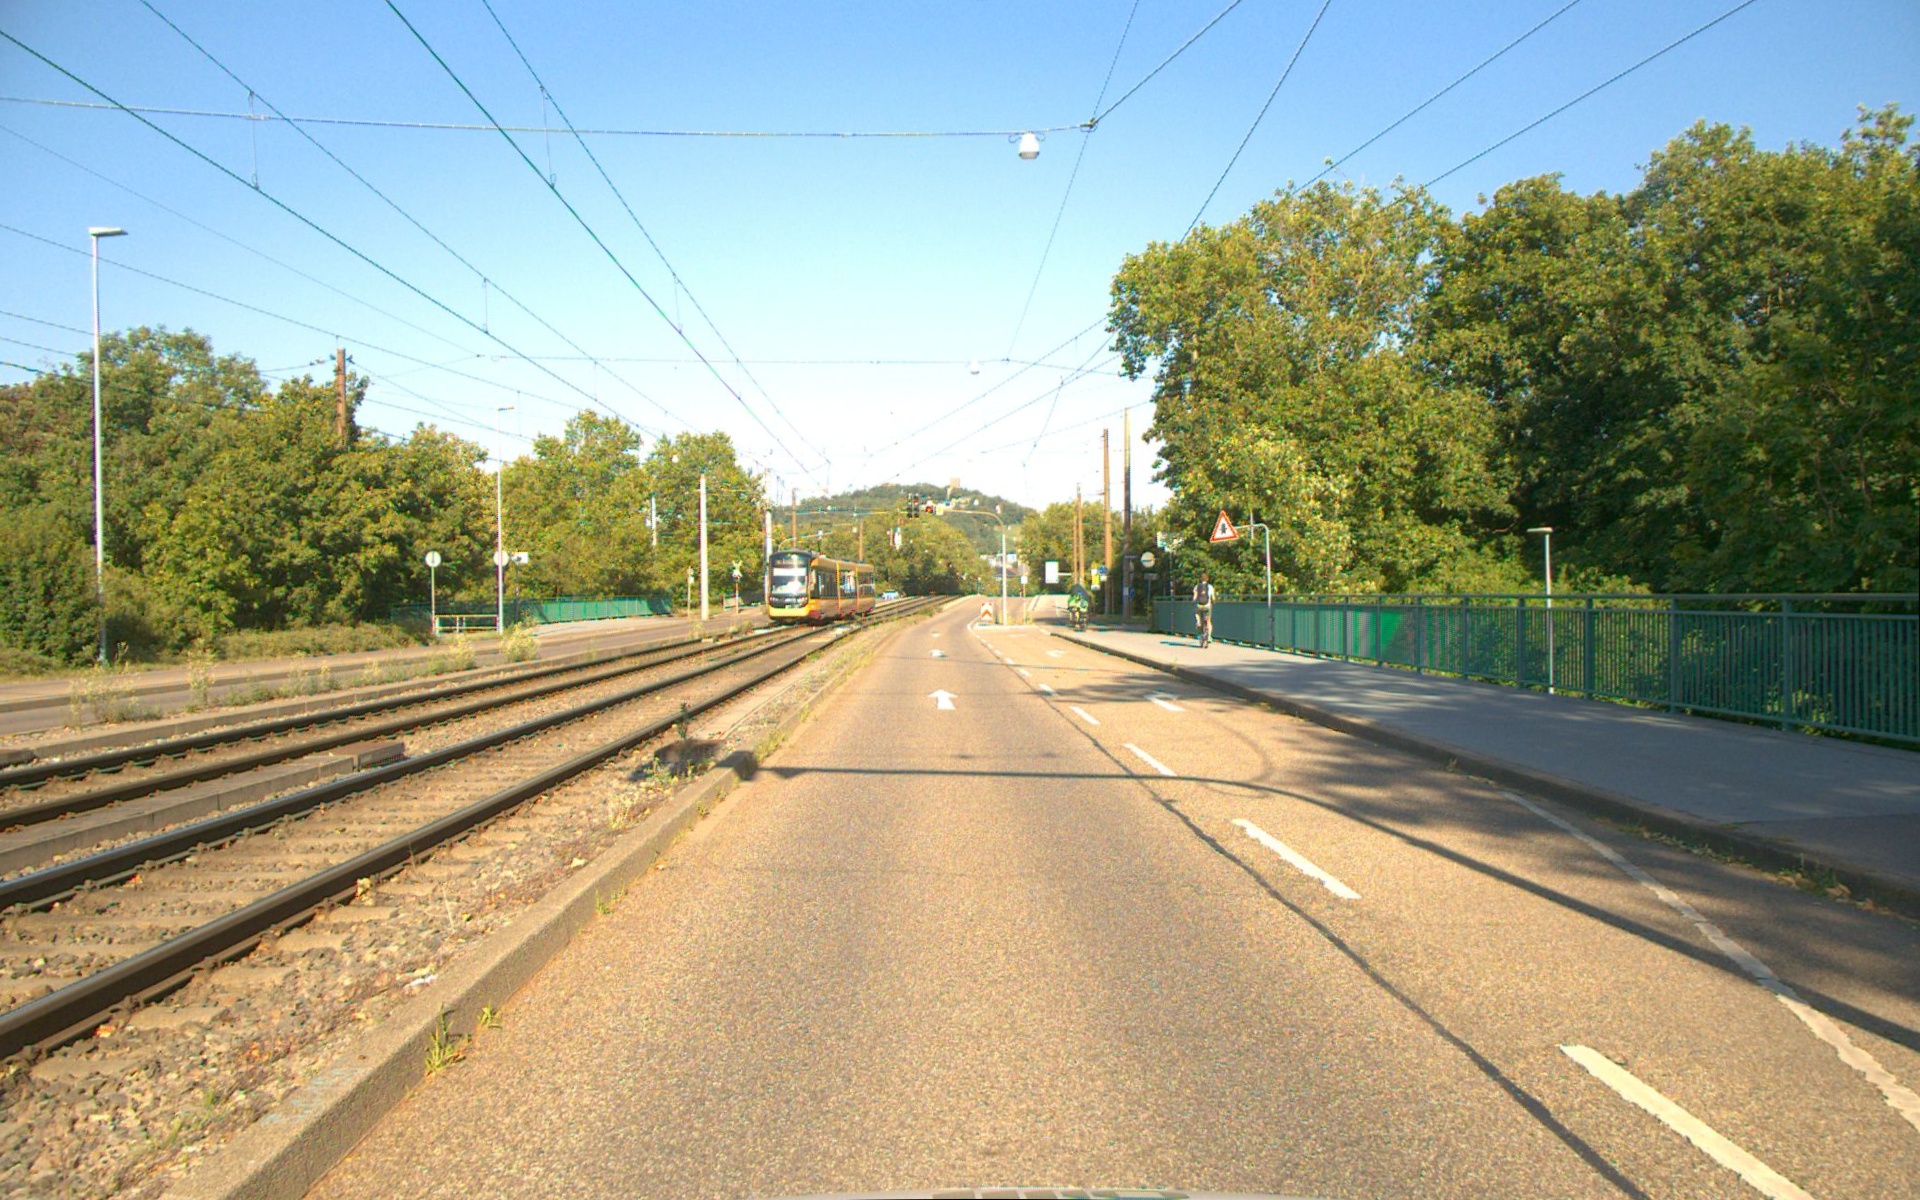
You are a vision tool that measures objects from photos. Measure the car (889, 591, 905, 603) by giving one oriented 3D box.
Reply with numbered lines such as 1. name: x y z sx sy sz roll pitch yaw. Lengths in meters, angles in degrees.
1. car: -8.108 -0.415 212.422 1.910 1.512 3.999 0 0 -1

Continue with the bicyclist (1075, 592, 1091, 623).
1. bicyclist: 5.595 0.333 75.280 0.592 1.403 0.975 0 0 -1

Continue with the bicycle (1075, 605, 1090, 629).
1. bicycle: 5.586 0.761 75.275 0.504 1.060 1.975 0 0 -1

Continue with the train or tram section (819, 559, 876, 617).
1. train or tram section: -7.057 -0.762 104.877 2.589 3.533 8.897 0 0 3

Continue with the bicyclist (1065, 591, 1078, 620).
1. bicyclist: 5.623 0.273 83.481 0.592 1.403 0.975 0 0 -1

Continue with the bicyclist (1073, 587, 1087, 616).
1. bicyclist: 5.803 0.064 80.176 0.592 1.403 0.975 0 0 -1

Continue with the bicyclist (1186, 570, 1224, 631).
1. bicyclist: 6.333 0.015 42.744 0.807 1.547 0.975 0 0 -1

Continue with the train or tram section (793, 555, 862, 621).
1. train or tram section: -7.502 -0.676 95.038 2.589 3.537 10.836 0 0 3

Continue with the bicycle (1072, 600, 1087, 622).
1. bicycle: 5.805 0.538 80.269 0.528 1.060 1.975 0 0 -1

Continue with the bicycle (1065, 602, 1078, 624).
1. bicycle: 5.624 0.647 83.482 0.528 1.060 1.975 0 0 -1

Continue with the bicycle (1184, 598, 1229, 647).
1. bicycle: 6.352 0.554 42.705 0.713 1.196 2.694 -1 0 -1

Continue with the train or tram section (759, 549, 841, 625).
1. train or tram section: -8.004 -0.646 84.162 2.589 3.629 10.836 0 0 3
